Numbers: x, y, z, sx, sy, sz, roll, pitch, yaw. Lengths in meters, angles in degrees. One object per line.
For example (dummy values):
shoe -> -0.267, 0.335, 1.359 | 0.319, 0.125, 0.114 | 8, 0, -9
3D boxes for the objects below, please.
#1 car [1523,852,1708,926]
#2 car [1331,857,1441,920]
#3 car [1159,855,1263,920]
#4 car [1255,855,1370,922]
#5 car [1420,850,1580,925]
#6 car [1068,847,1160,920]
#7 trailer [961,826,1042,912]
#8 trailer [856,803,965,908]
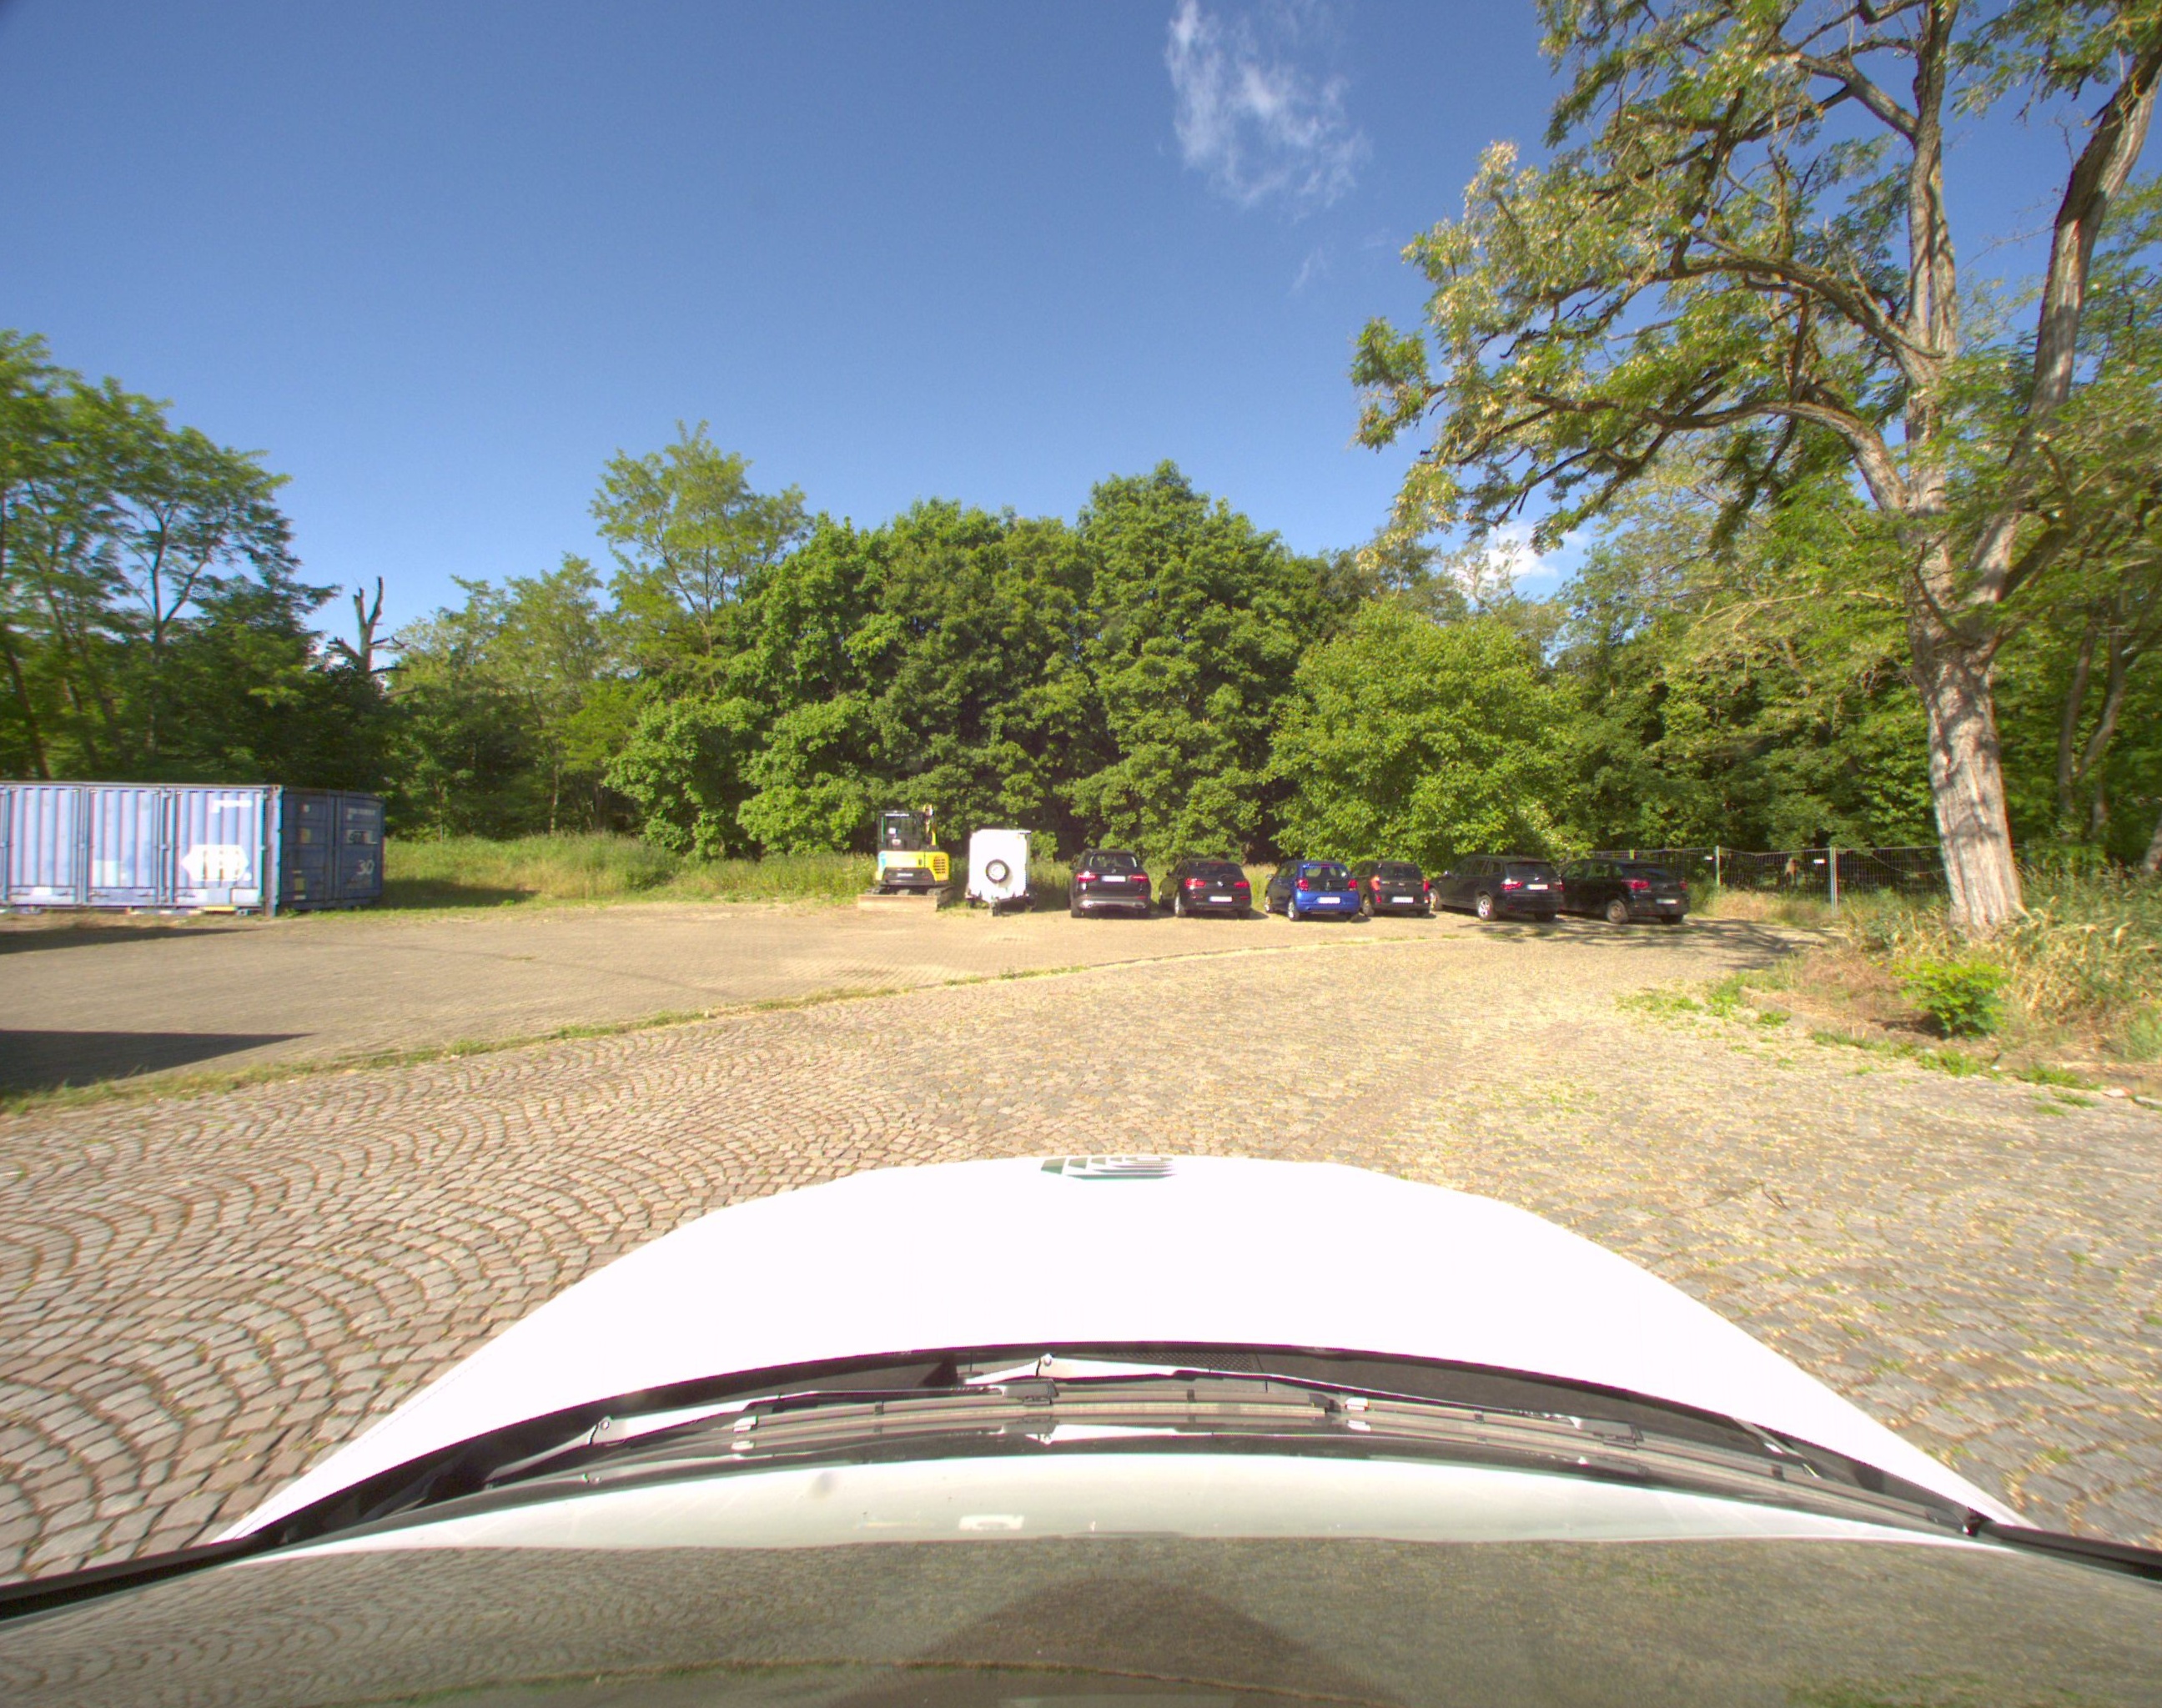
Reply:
car -> 14.114, 0.843, 21.874 | 1.822, 1.589, 4.264 | 0, 3, -7
car -> 8.114, 0.849, 21.989 | 1.731, 1.451, 3.728 | 1, 1, 3
car -> 3.171, 0.770, 20.634 | 1.884, 1.411, 3.787 | 1, 0, -2
car -> 5.789, 0.816, 20.836 | 1.775, 1.458, 3.788 | 1, 1, -1
car -> 11.041, 0.802, 21.849 | 1.870, 1.630, 4.269 | 1, 2, -4
car -> 0.713, 0.656, 20.397 | 1.959, 1.589, 4.128 | 1, 0, -2
trailer -> -2.015, 0.350, 21.299 | 1.813, 2.050, 2.849 | 1, 0, -1
trailer -> -4.386, -0.024, 21.456 | 2.252, 2.538, 2.850 | 1, 3, -1
